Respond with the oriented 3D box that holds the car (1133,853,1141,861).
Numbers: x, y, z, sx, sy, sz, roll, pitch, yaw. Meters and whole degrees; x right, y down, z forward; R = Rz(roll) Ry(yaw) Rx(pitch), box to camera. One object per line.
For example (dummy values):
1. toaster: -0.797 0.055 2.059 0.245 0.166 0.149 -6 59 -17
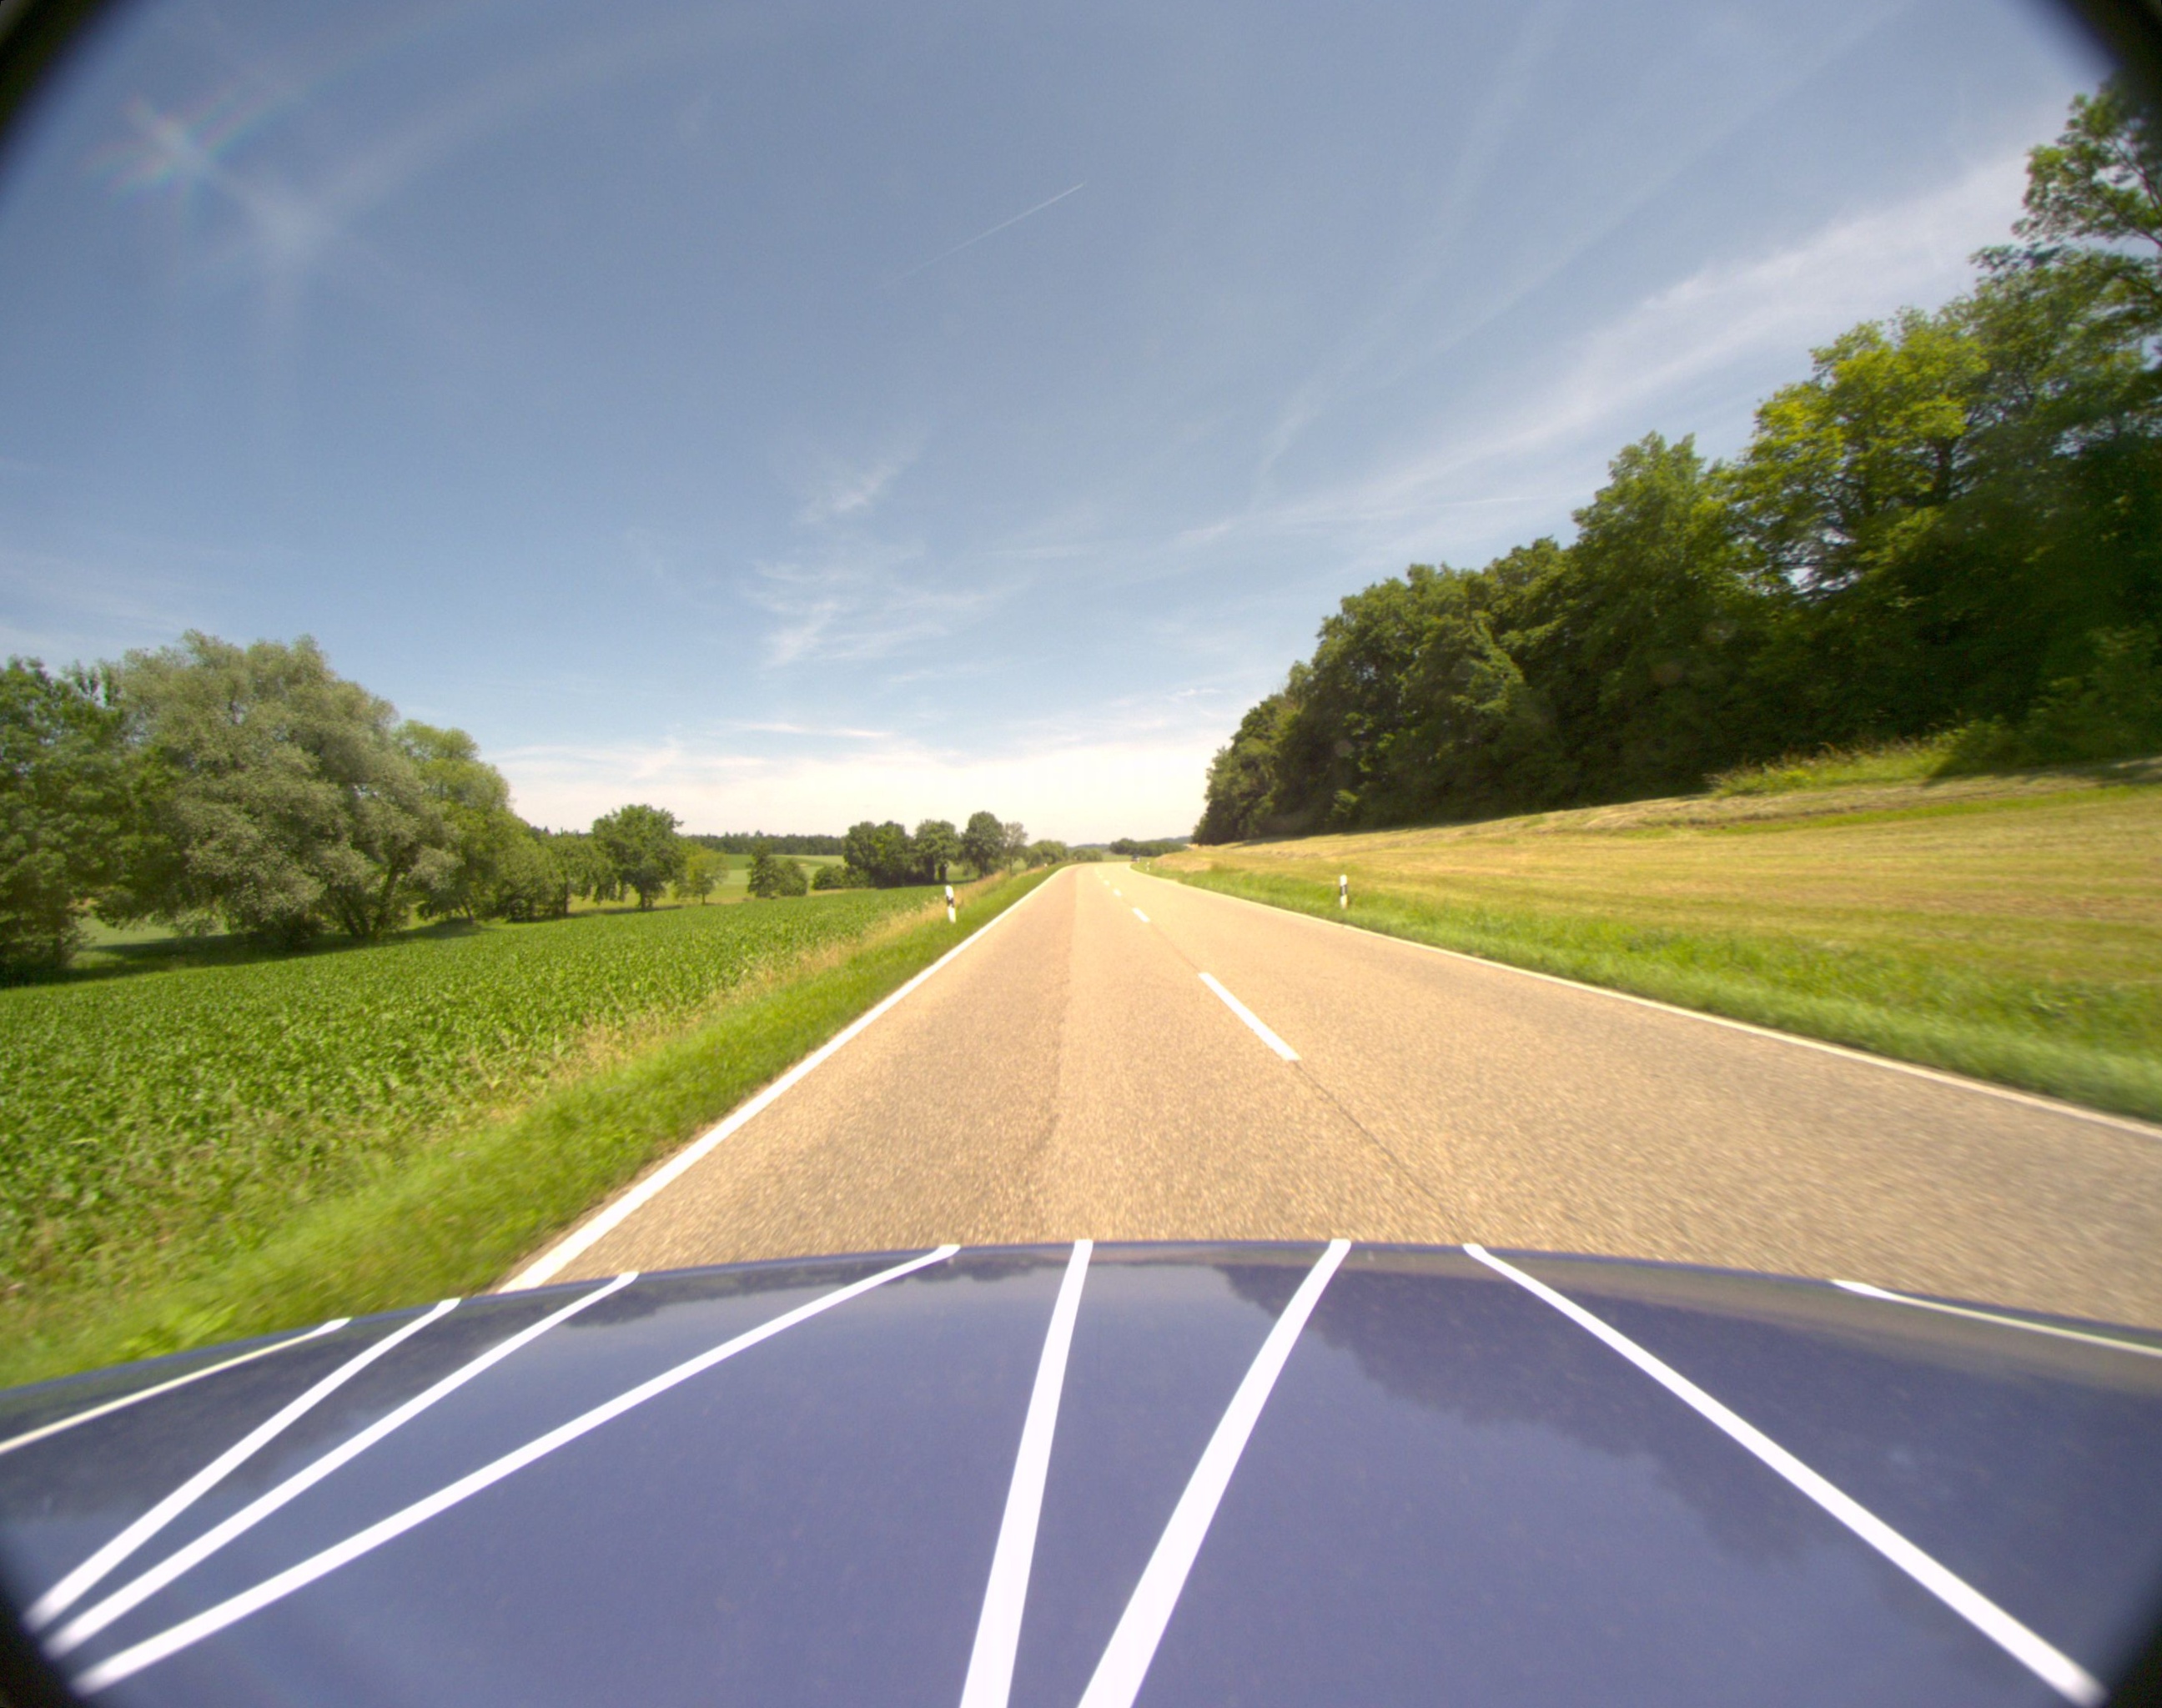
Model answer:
1. car: 13.072 0.715 176.650 1.815 1.569 4.157 1 -3 5
